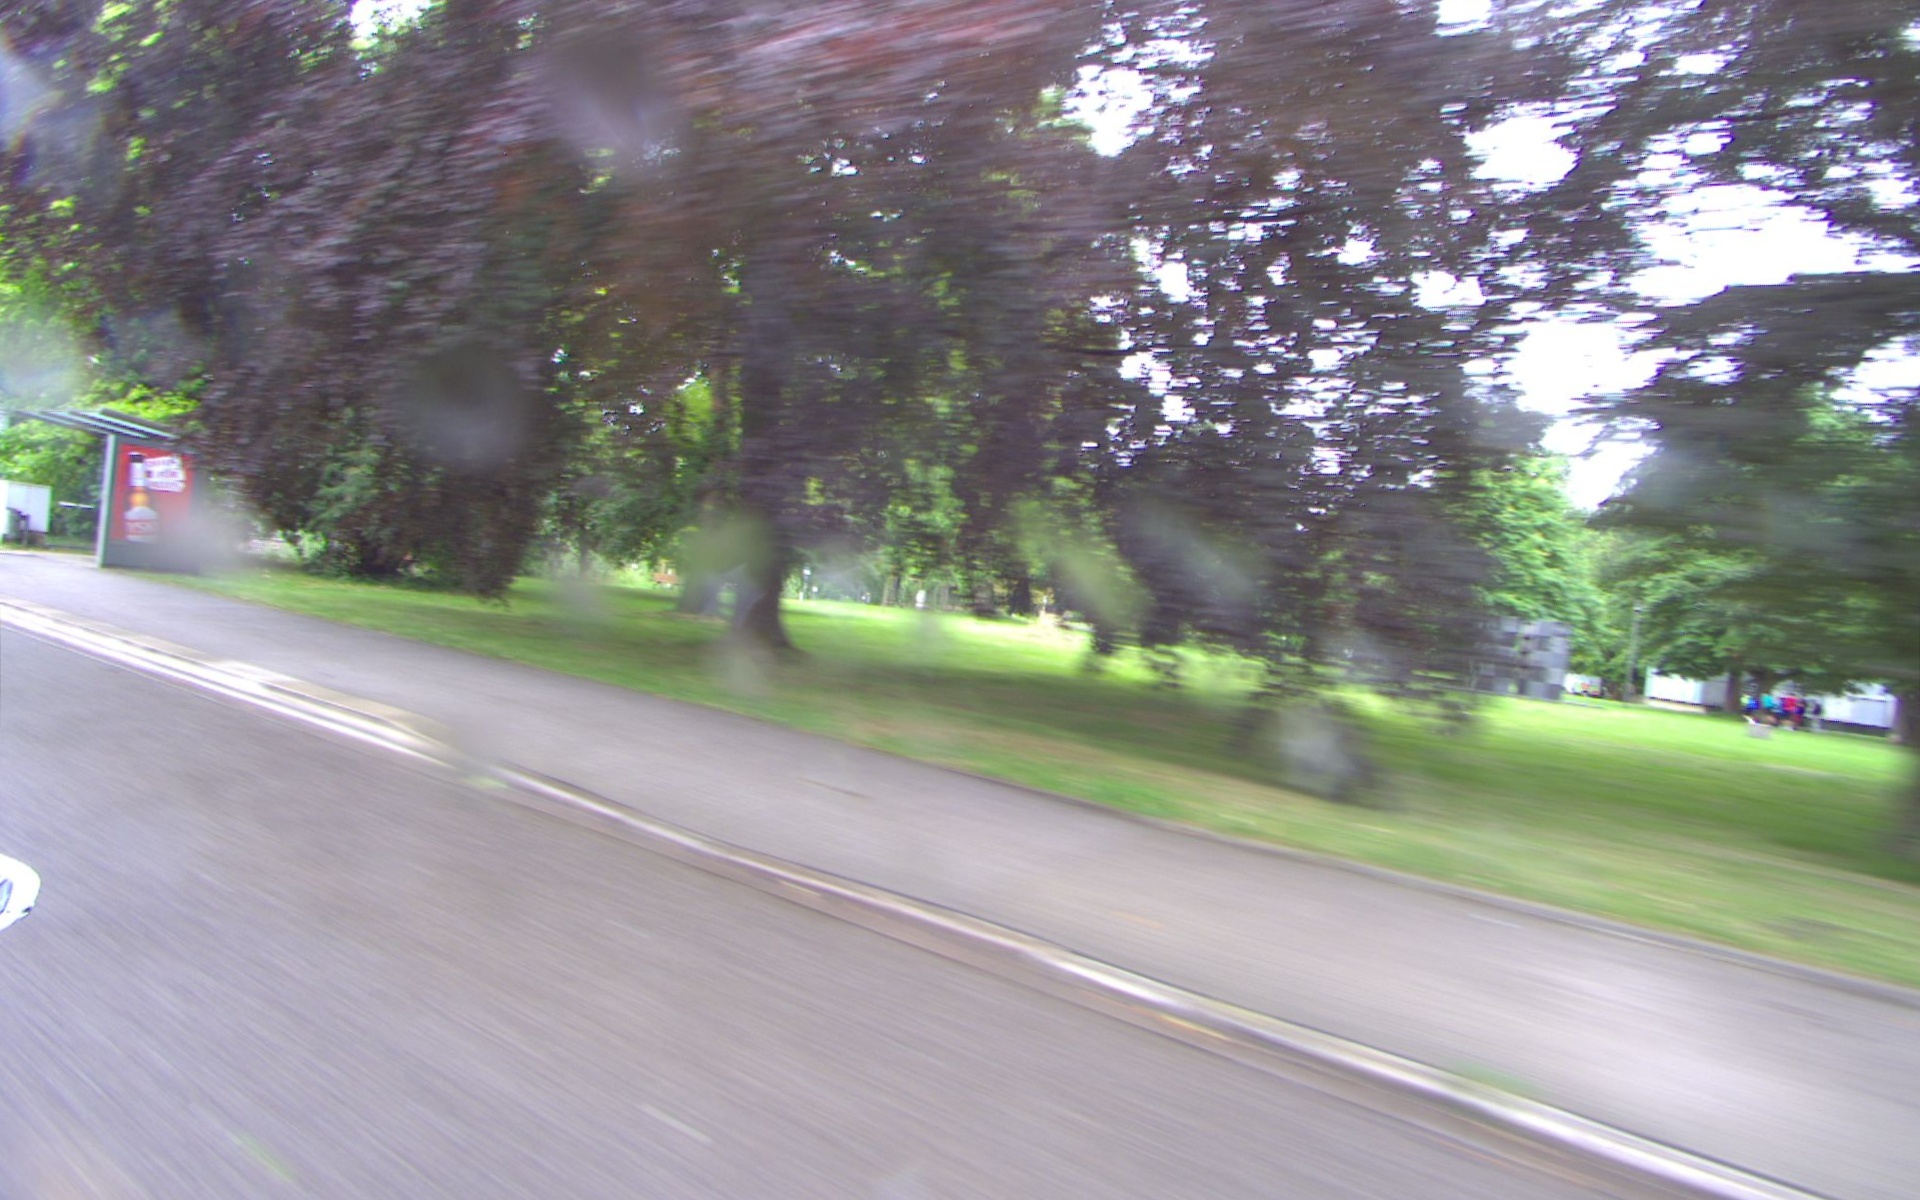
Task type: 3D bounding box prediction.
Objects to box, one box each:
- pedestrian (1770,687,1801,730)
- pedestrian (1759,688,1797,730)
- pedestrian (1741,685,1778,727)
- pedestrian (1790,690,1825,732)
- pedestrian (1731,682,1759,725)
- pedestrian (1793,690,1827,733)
[{"bbox_3d":[36.612,4.805,44.626,0.758,1.783,0.841,7,-2,26],"label":"pedestrian"},{"bbox_3d":[37.486,4.976,46.106,0.843,1.783,0.841,8,-2,-2],"label":"pedestrian"},{"bbox_3d":[36.581,4.846,46.024,0.845,1.783,0.838,8,-2,-17],"label":"pedestrian"},{"bbox_3d":[38.227,5.010,45.374,0.825,1.783,0.773,7,-2,19],"label":"pedestrian"},{"bbox_3d":[35.643,4.698,45.666,0.829,1.783,0.855,6,-2,42],"label":"pedestrian"},{"bbox_3d":[37.667,4.927,44.590,0.843,1.783,0.841,7,-2,26],"label":"pedestrian"}]
